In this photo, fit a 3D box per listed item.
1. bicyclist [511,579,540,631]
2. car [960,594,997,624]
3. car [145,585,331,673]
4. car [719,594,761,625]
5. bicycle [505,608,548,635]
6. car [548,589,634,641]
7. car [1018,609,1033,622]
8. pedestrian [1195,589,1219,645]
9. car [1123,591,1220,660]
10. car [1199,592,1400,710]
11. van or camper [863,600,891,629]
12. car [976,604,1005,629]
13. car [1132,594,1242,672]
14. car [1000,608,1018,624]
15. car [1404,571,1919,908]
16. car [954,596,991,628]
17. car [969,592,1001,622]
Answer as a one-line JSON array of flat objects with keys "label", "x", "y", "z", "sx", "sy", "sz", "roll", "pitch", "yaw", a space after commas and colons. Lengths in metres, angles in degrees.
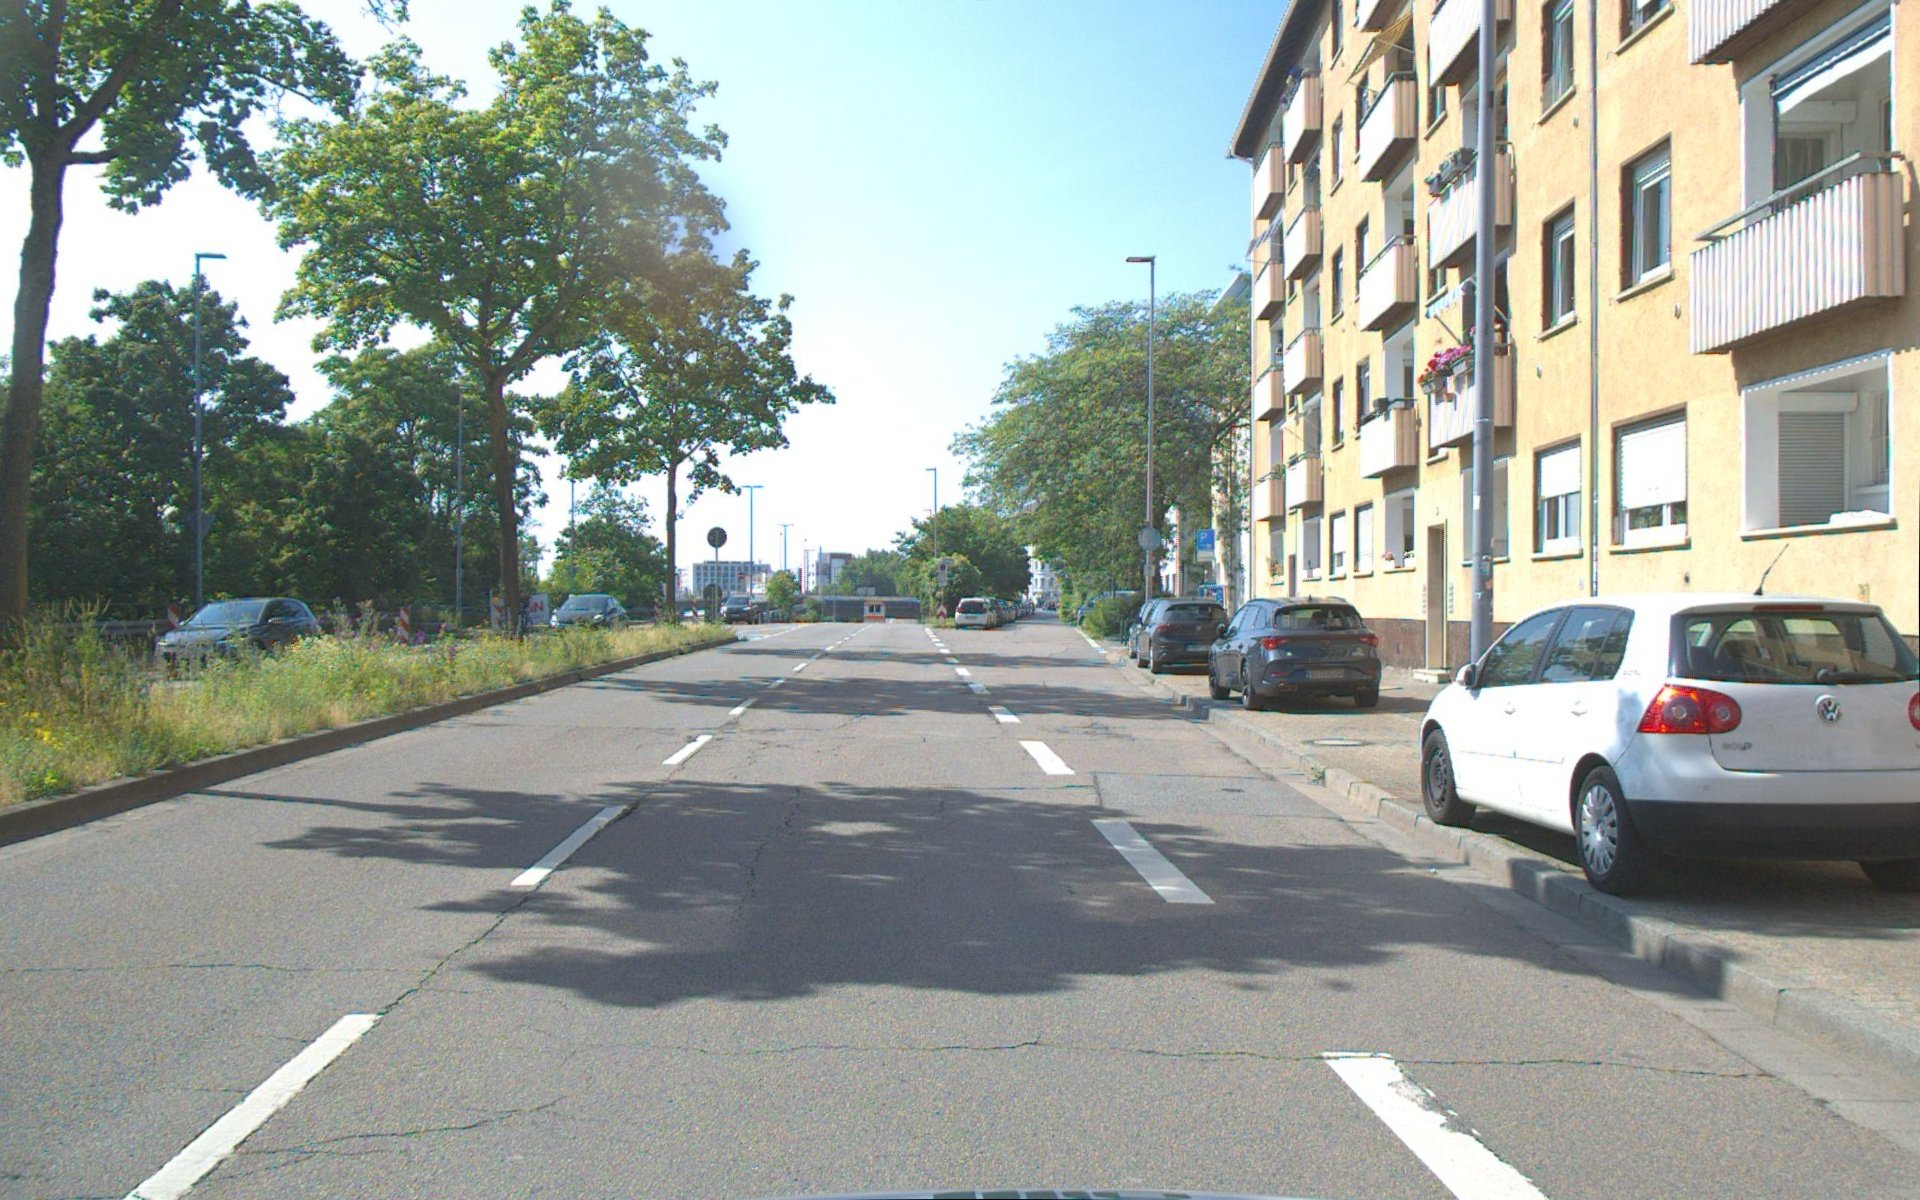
[{"label": "bicyclist", "x": -15.594, "y": 0.185, "z": 59.322, "sx": 0.681, "sy": 1.864, "sz": 1.018, "roll": 0, "pitch": 0, "yaw": 6}, {"label": "car", "x": 0.968, "y": 0.447, "z": 85.208, "sx": 1.685, "sy": 1.532, "sz": 4.134, "roll": 0, "pitch": 0, "yaw": 3}, {"label": "car", "x": -13.762, "y": 0.531, "z": 31.777, "sx": 1.761, "sy": 1.557, "sz": 4.000, "roll": 1, "pitch": 0, "yaw": 0}, {"label": "car", "x": -12.940, "y": 0.533, "z": 97.484, "sx": 1.953, "sy": 1.764, "sz": 4.728, "roll": 1, "pitch": 0, "yaw": -1}, {"label": "bicycle", "x": -15.573, "y": 0.768, "z": 59.428, "sx": 0.678, "sy": 0.921, "sz": 2.344, "roll": 0, "pitch": 0, "yaw": 7}, {"label": "car", "x": -11.072, "y": 0.427, "z": 49.900, "sx": 1.727, "sy": 1.500, "sz": 4.084, "roll": 0, "pitch": 0, "yaw": -1}, {"label": "car", "x": 9.062, "y": 2.108, "z": 228.214, "sx": 1.952, "sy": 1.686, "sz": 4.001, "roll": 1, "pitch": -1, "yaw": 2}, {"label": "pedestrian", "x": 7.356, "y": 0.508, "z": 49.297, "sx": 0.641, "sy": 1.637, "sz": 0.824, "roll": 0, "pitch": 0, "yaw": 3}, {"label": "car", "x": 4.933, "y": 0.566, "z": 39.016, "sx": 1.669, "sy": 1.540, "sz": 4.090, "roll": 0, "pitch": 0, "yaw": -1}, {"label": "car", "x": 4.554, "y": 0.638, "z": 22.870, "sx": 1.764, "sy": 1.463, "sz": 4.589, "roll": 0, "pitch": 0, "yaw": -1}, {"label": "van or camper", "x": -8.224, "y": 1.445, "z": 164.052, "sx": 2.248, "sy": 2.838, "sz": 5.572, "roll": 1, "pitch": -1, "yaw": 2}, {"label": "car", "x": 1.996, "y": 1.016, "z": 106.368, "sx": 1.629, "sy": 1.499, "sz": 3.791, "roll": 3, "pitch": 0, "yaw": 3}, {"label": "car", "x": 4.581, "y": 0.639, "z": 33.947, "sx": 1.675, "sy": 1.487, "sz": 4.255, "roll": 0, "pitch": 0, "yaw": 0}, {"label": "car", "x": 4.921, "y": 1.598, "z": 165.455, "sx": 1.629, "sy": 1.536, "sz": 4.010, "roll": 3, "pitch": 0, "yaw": 3}, {"label": "car", "x": 4.021, "y": 0.627, "z": 9.614, "sx": 1.720, "sy": 1.532, "sz": 4.127, "roll": 0, "pitch": 0, "yaw": -1}, {"label": "car", "x": 0.620, "y": 0.560, "z": 80.453, "sx": 1.585, "sy": 1.532, "sz": 3.463, "roll": 0, "pitch": 0, "yaw": 3}, {"label": "car", "x": 1.353, "y": 0.382, "z": 90.703, "sx": 1.735, "sy": 1.607, "sz": 4.186, "roll": 0, "pitch": 0, "yaw": 0}]
